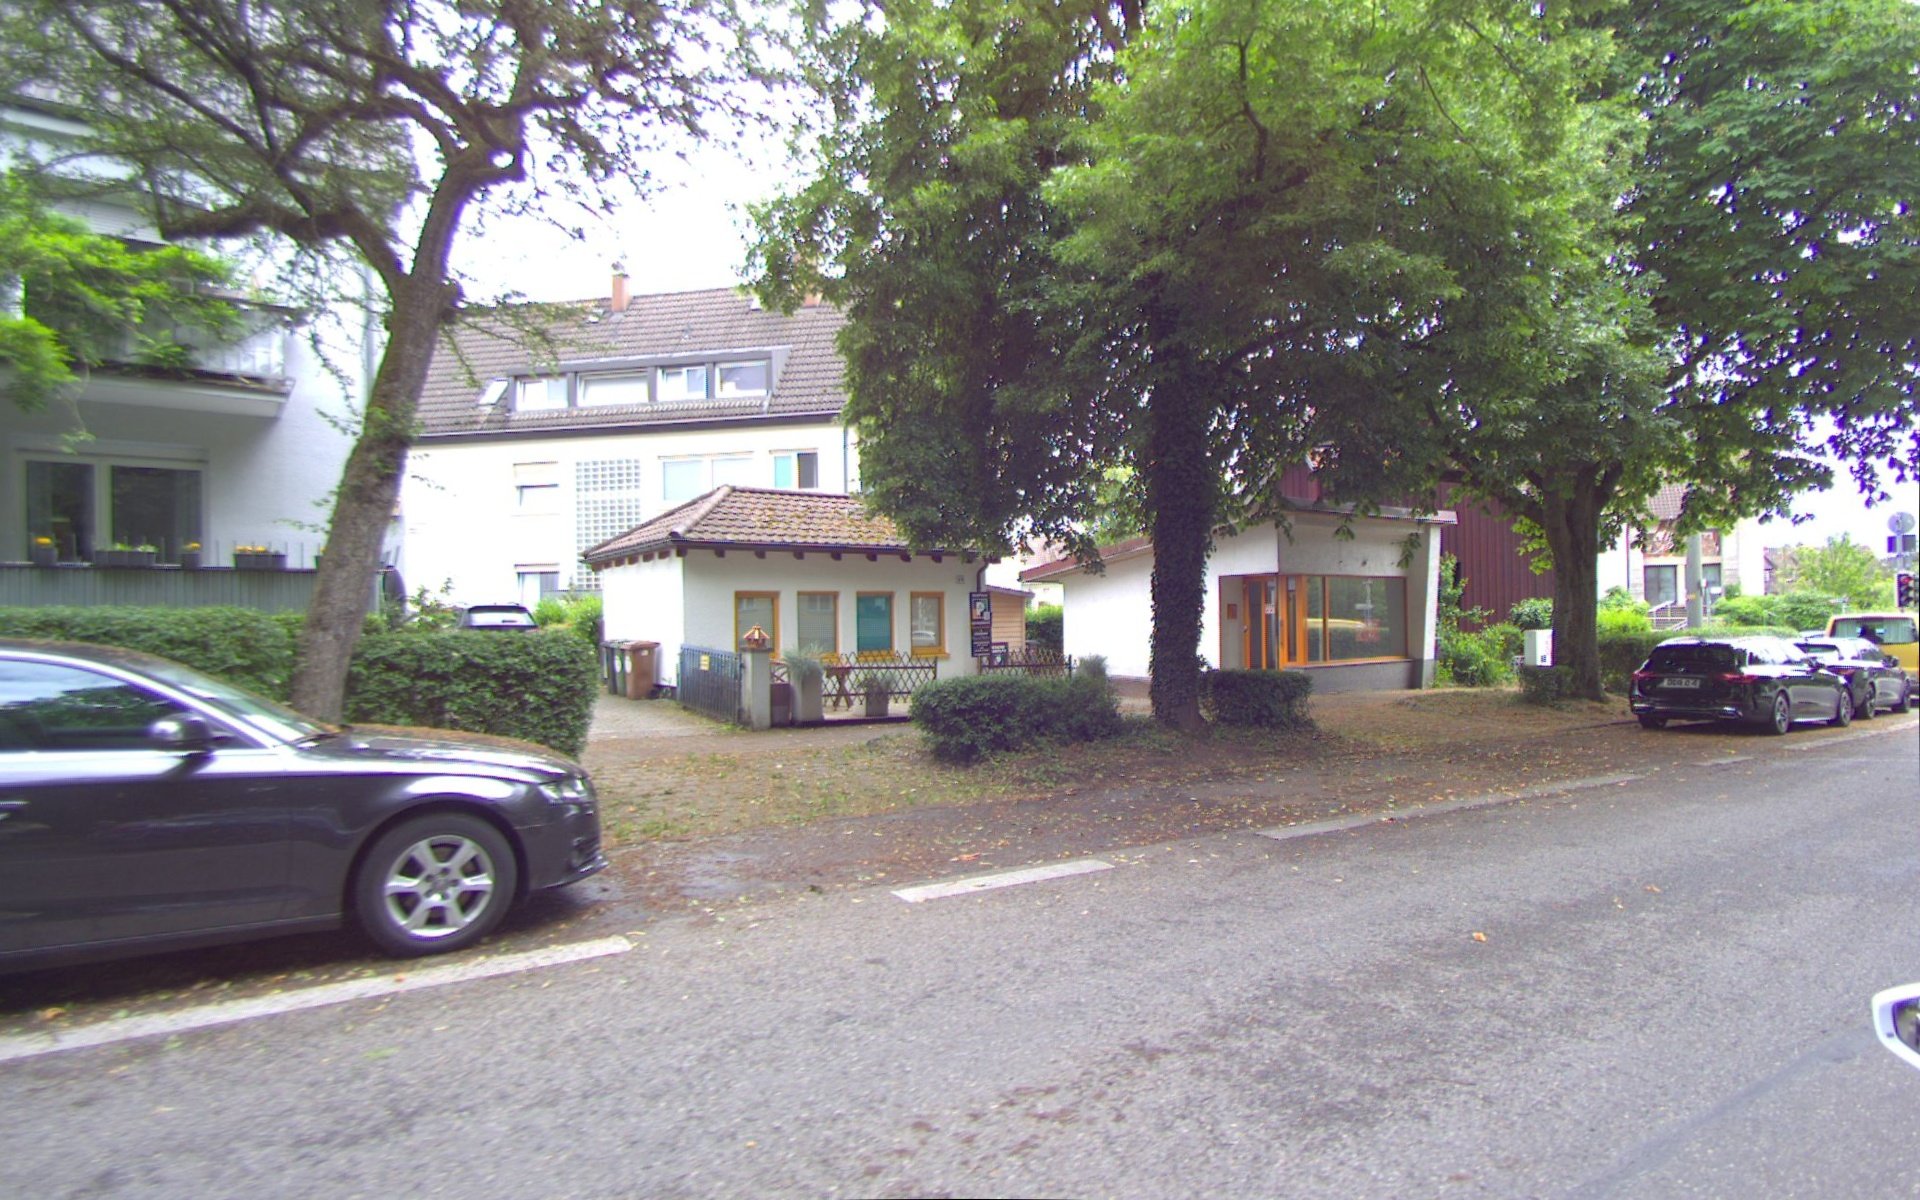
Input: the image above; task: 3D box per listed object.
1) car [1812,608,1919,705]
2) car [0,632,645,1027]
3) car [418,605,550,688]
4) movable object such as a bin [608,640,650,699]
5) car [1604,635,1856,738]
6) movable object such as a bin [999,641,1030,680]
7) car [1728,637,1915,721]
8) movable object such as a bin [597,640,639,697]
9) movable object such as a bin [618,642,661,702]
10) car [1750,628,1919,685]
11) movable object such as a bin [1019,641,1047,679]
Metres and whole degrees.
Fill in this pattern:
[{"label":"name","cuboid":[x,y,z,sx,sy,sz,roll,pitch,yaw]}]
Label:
[{"label":"car","cuboid":[20.963,1.251,22.709,4.468,1.989,1.842,2,-3,-40]},{"label":"car","cuboid":[-3.945,0.868,4.425,4.596,1.429,1.784,1,-3,-34]},{"label":"car","cuboid":[-9.884,0.882,20.711,1.718,1.530,3.958,1,-1,-37]},{"label":"movable object such as a bin","cuboid":[-5.531,1.151,16.782,0.568,0.935,0.484,1,0,-33]},{"label":"car","cuboid":[12.393,1.302,16.087,4.507,1.429,1.880,2,-3,-34]},{"label":"movable object such as a bin","cuboid":[1.383,1.526,25.459,0.613,0.942,0.519,1,0,-36]},{"label":"car","cuboid":[16.554,1.433,19.243,4.148,1.434,1.782,1,-3,-36]},{"label":"movable object such as a bin","cuboid":[-5.856,1.168,17.197,0.568,0.935,0.484,1,0,-33]},{"label":"movable object such as a bin","cuboid":[-5.226,1.162,16.371,0.568,0.935,0.484,1,0,-33]},{"label":"car","cuboid":[26.151,1.618,29.804,1.785,1.530,3.955,-1,-1,-39]},{"label":"movable object such as a bin","cuboid":[1.873,1.530,25.757,0.483,0.942,0.519,1,0,-35]}]
